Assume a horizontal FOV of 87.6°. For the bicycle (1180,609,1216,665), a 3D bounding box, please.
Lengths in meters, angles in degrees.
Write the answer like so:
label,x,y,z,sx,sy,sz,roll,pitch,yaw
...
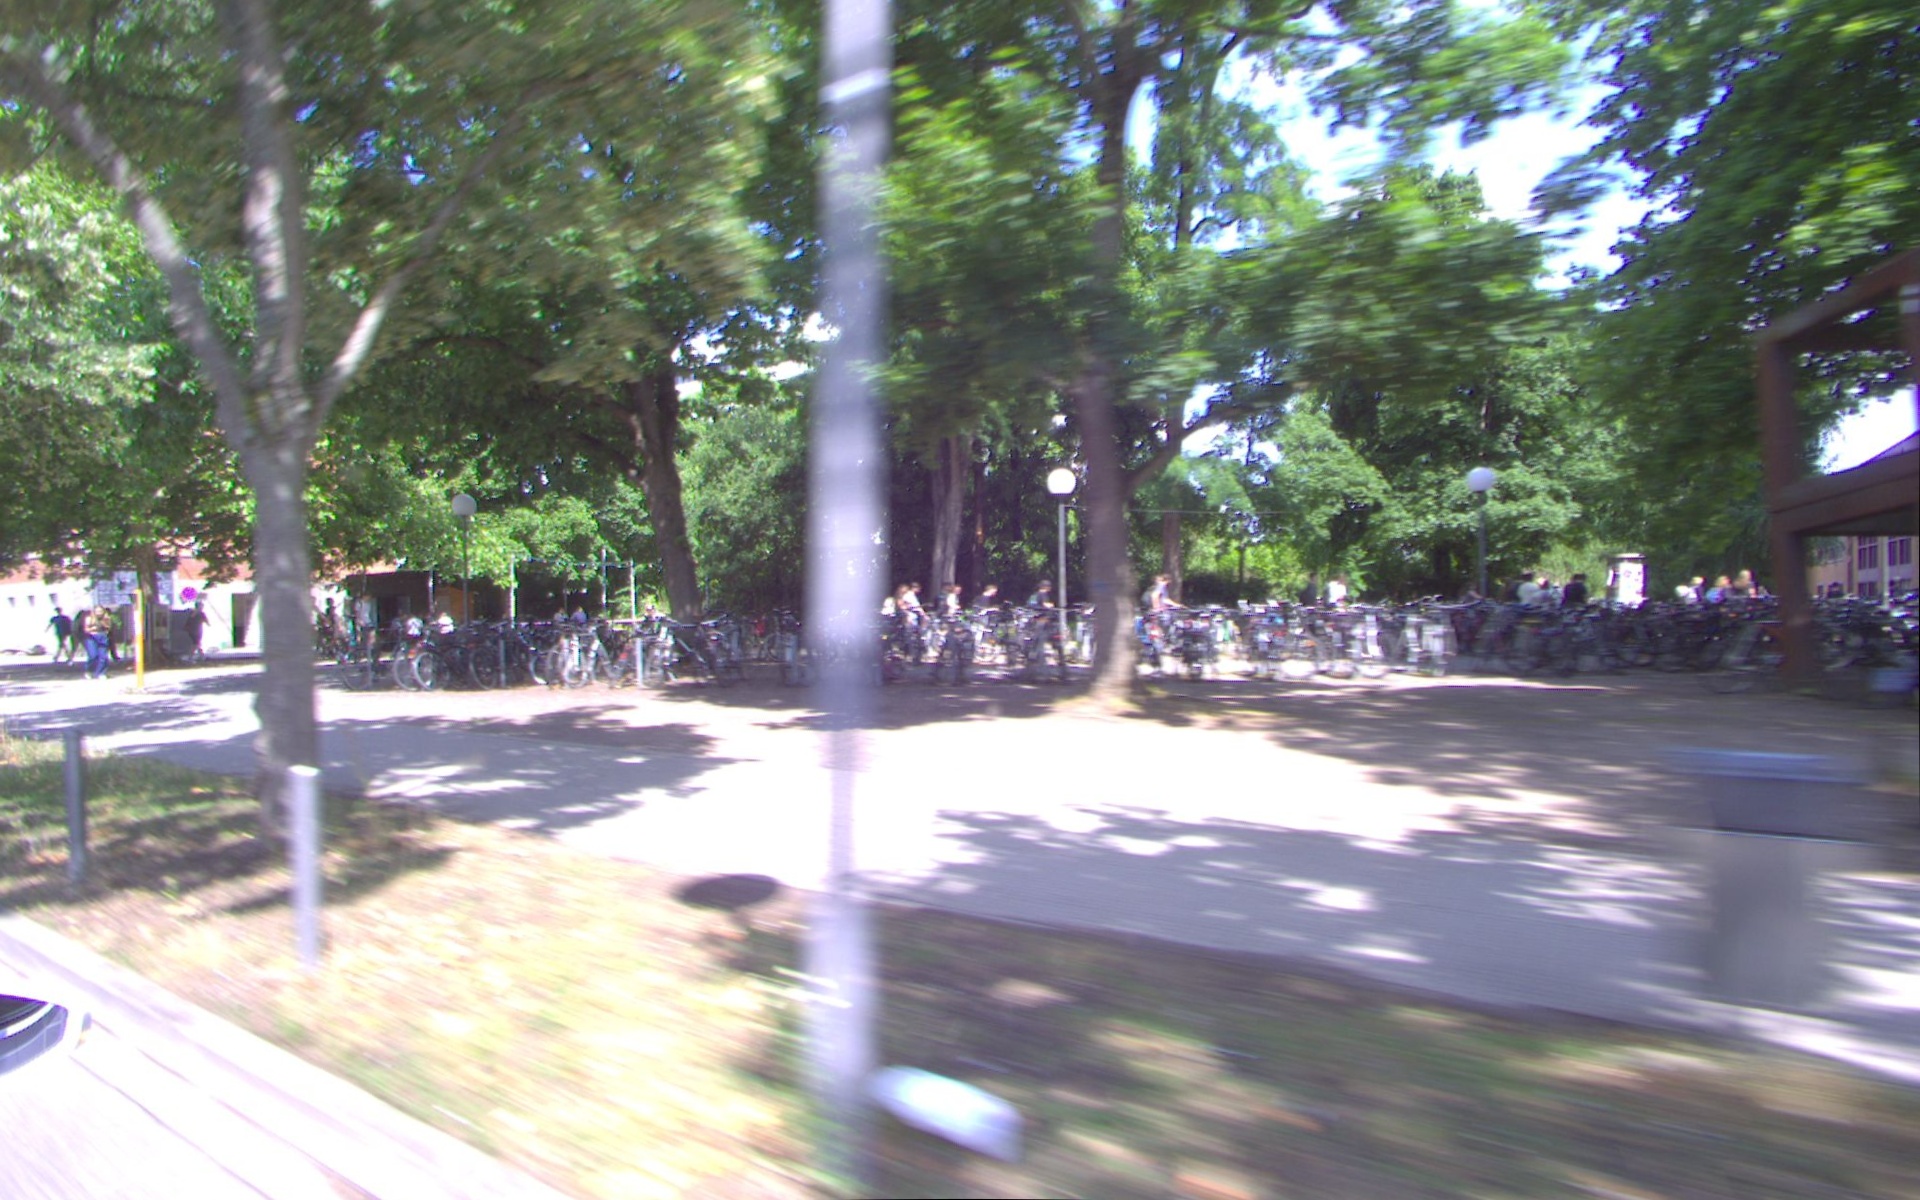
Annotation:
label,x,y,z,sx,sy,sz,roll,pitch,yaw
bicycle,4.707,0.705,19.853,0.371,0.992,1.903,-1,1,4

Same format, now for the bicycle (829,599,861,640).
label,x,y,z,sx,sy,sz,roll,pitch,yaw
bicycle,-3.304,0.554,28.907,0.469,1.108,1.752,-1,1,8

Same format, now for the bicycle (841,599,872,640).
label,x,y,z,sx,sy,sz,roll,pitch,yaw
bicycle,-2.965,0.545,28.863,0.469,1.108,1.752,-1,1,8

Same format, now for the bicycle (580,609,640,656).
label,x,y,z,sx,sy,sz,roll,pitch,yaw
bicycle,-8.230,0.749,23.616,0.469,0.992,1.902,-1,1,9

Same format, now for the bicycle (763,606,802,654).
label,x,y,z,sx,sy,sz,roll,pitch,yaw
bicycle,-4.082,0.670,23.108,0.526,0.992,1.903,-2,1,0

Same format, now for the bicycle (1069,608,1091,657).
label,x,y,z,sx,sy,sz,roll,pitch,yaw
bicycle,2.677,0.705,22.348,0.371,0.992,1.903,-1,1,4

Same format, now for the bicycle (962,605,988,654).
label,x,y,z,sx,sy,sz,roll,pitch,yaw
bicycle,0.324,0.637,22.244,0.371,0.992,1.903,-2,1,-5

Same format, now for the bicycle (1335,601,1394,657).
label,x,y,z,sx,sy,sz,roll,pitch,yaw
bicycle,8.102,0.561,20.114,0.287,1.036,1.742,-2,1,-7

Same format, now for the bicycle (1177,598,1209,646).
label,x,y,z,sx,sy,sz,roll,pitch,yaw
bicycle,5.122,0.465,22.059,0.371,0.992,1.903,-1,1,4

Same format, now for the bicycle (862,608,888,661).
label,x,y,z,sx,sy,sz,roll,pitch,yaw
bicycle,-1.757,0.684,20.549,0.469,0.992,1.902,-2,1,-6

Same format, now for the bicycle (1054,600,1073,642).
label,x,y,z,sx,sy,sz,roll,pitch,yaw
bicycle,2.903,0.583,28.196,0.469,1.108,1.610,-1,1,5

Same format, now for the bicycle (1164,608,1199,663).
label,x,y,z,sx,sy,sz,roll,pitch,yaw
bicycle,4.380,0.682,19.882,0.371,0.992,1.903,-1,1,4

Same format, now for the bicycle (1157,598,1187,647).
label,x,y,z,sx,sy,sz,roll,pitch,yaw
bicycle,4.679,0.480,22.132,0.371,0.992,1.903,-1,1,4

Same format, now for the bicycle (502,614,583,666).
label,x,y,z,sx,sy,sz,roll,pitch,yaw
bicycle,-8.977,0.841,21.622,0.601,0.992,1.901,-1,1,12

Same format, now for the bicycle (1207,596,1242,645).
label,x,y,z,sx,sy,sz,roll,pitch,yaw
bicycle,5.845,0.433,22.193,0.371,0.992,1.903,-1,1,4

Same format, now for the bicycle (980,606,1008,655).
label,x,y,z,sx,sy,sz,roll,pitch,yaw
bicycle,0.734,0.656,22.212,0.371,0.992,1.903,-2,1,-5

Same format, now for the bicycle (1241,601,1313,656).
label,x,y,z,sx,sy,sz,roll,pitch,yaw
bicycle,6.210,0.534,19.710,0.372,0.992,1.900,-2,1,-16

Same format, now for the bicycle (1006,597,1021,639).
label,x,y,z,sx,sy,sz,roll,pitch,yaw
bicycle,1.517,0.498,28.147,0.341,1.108,1.610,-1,1,5

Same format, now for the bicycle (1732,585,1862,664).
label,x,y,z,sx,sy,sz,roll,pitch,yaw
bicycle,13.390,0.363,16.090,0.406,1.186,1.844,-1,1,-5

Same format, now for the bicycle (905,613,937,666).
label,x,y,z,sx,sy,sz,roll,pitch,yaw
bicycle,-0.811,0.785,20.551,0.469,0.992,1.902,-2,1,-7

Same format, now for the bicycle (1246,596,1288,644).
label,x,y,z,sx,sy,sz,roll,pitch,yaw
bicycle,6.793,0.420,22.218,0.469,0.992,1.903,-1,1,4

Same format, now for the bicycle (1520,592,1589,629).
label,x,y,z,sx,sy,sz,roll,pitch,yaw
bicycle,17.033,0.289,28.691,1.719,0.944,0.585,-2,3,-9

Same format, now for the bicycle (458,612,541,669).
label,x,y,z,sx,sy,sz,roll,pitch,yaw
bicycle,-10.040,0.864,21.914,0.601,1.133,1.901,-1,1,12

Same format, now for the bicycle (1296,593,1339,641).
label,x,y,z,sx,sy,sz,roll,pitch,yaw
bicycle,7.951,0.355,22.320,0.371,0.992,1.903,-1,1,4

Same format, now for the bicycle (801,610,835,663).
label,x,y,z,sx,sy,sz,roll,pitch,yaw
bicycle,-2.901,0.717,20.354,0.470,0.992,1.901,-2,1,-14

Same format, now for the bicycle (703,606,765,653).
label,x,y,z,sx,sy,sz,roll,pitch,yaw
bicycle,-5.163,0.656,22.984,0.601,0.992,1.901,-1,1,12

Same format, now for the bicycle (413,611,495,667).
label,x,y,z,sx,sy,sz,roll,pitch,yaw
bicycle,-11.205,0.848,22.247,0.601,1.133,1.807,-1,1,12

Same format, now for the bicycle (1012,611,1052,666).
label,x,y,z,sx,sy,sz,roll,pitch,yaw
bicycle,1.424,0.749,20.000,0.469,0.992,1.903,-2,1,-5

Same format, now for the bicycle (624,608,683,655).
label,x,y,z,sx,sy,sz,roll,pitch,yaw
bicycle,-7.125,0.711,23.367,0.413,0.992,1.901,-1,1,12

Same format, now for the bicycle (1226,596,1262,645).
label,x,y,z,sx,sy,sz,roll,pitch,yaw
bicycle,6.237,0.430,22.049,0.371,0.992,1.903,-1,1,4

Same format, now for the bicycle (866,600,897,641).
label,x,y,z,sx,sy,sz,roll,pitch,yaw
bicycle,-2.270,0.575,29.044,0.342,1.108,1.609,-1,1,15

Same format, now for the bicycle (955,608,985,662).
label,x,y,z,sx,sy,sz,roll,pitch,yaw
bicycle,0.209,0.680,20.124,0.469,0.992,1.903,-1,1,4

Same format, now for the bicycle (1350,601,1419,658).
label,x,y,z,sx,sy,sz,roll,pitch,yaw
bicycle,8.417,0.560,19.921,0.469,1.036,1.742,-2,1,-7

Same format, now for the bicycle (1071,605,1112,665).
label,x,y,z,sx,sy,sz,roll,pitch,yaw
bicycle,2.616,0.666,20.047,0.469,1.097,1.903,-2,1,-2

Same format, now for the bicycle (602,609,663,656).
label,x,y,z,sx,sy,sz,roll,pitch,yaw
bicycle,-7.602,0.745,23.300,0.413,0.992,1.901,-1,1,12

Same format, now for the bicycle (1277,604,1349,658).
label,x,y,z,sx,sy,sz,roll,pitch,yaw
bicycle,7.000,0.595,19.953,0.372,0.992,1.901,-2,1,-14

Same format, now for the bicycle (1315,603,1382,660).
label,x,y,z,sx,sy,sz,roll,pitch,yaw
bicycle,7.745,0.606,20.031,0.469,1.036,1.742,-2,1,-7

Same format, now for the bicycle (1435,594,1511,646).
label,x,y,z,sx,sy,sz,roll,pitch,yaw
bicycle,10.461,0.390,20.489,0.469,0.992,1.903,-2,1,-4

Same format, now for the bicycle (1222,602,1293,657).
label,x,y,z,sx,sy,sz,roll,pitch,yaw
bicycle,5.786,0.554,19.583,0.372,0.992,1.900,-2,1,-16

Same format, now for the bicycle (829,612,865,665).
label,x,y,z,sx,sy,sz,roll,pitch,yaw
bicycle,-2.331,0.763,20.497,0.470,0.992,1.901,-2,1,-14

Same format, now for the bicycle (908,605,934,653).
label,x,y,z,sx,sy,sz,roll,pitch,yaw
bicycle,-0.891,0.641,22.575,0.469,0.992,1.903,-2,1,-5

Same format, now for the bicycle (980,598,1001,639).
label,x,y,z,sx,sy,sz,roll,pitch,yaw
bicycle,0.878,0.502,28.495,0.469,1.108,1.610,-1,1,5

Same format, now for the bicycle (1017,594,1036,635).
label,x,y,z,sx,sy,sz,roll,pitch,yaw
bicycle,1.886,0.388,28.367,0.469,1.108,1.610,-1,1,5

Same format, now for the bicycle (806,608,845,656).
label,x,y,z,sx,sy,sz,roll,pitch,yaw
bicycle,-2.984,0.693,22.410,0.469,0.992,1.903,-1,1,4

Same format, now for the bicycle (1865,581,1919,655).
label,x,y,z,sx,sy,sz,roll,pitch,yaw
bicycle,15.670,0.283,16.122,0.406,1.186,1.844,-1,1,-5

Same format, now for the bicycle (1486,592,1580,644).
label,x,y,z,sx,sy,sz,roll,pitch,yaw
bicycle,11.663,0.340,20.455,0.470,0.992,1.900,-2,1,-15

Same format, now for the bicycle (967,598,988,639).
label,x,y,z,sx,sy,sz,roll,pitch,yaw
bicycle,0.504,0.514,28.472,0.469,1.108,1.610,-1,1,5

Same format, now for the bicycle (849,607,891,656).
label,x,y,z,sx,sy,sz,roll,pitch,yaw
bicycle,-2.012,0.690,22.645,0.434,0.992,1.902,-1,1,10

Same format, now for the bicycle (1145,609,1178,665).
label,x,y,z,sx,sy,sz,roll,pitch,yaw
bicycle,3.963,0.699,19.762,0.371,0.992,1.903,-1,1,4

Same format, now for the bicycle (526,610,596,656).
label,x,y,z,sx,sy,sz,roll,pitch,yaw
bicycle,-9.487,0.776,23.878,0.470,0.992,1.901,-1,1,15

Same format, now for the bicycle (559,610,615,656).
label,x,y,z,sx,sy,sz,roll,pitch,yaw
bicycle,-8.845,0.759,23.811,0.413,0.992,1.903,-1,1,6

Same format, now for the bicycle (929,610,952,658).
label,x,y,z,sx,sy,sz,roll,pitch,yaw
bicycle,-0.454,0.758,22.729,0.371,0.992,1.903,-2,1,-5

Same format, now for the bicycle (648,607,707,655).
label,x,y,z,sx,sy,sz,roll,pitch,yaw
bicycle,-6.497,0.694,23.104,0.469,0.992,1.902,-1,1,11

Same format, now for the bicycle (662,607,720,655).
label,x,y,z,sx,sy,sz,roll,pitch,yaw
bicycle,-6.144,0.684,22.989,0.469,0.992,1.902,-1,1,11

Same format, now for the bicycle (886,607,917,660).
label,x,y,z,sx,sy,sz,roll,pitch,yaw
bicycle,-1.206,0.653,20.498,0.469,0.992,1.902,-2,1,-7

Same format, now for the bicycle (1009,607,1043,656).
label,x,y,z,sx,sy,sz,roll,pitch,yaw
bicycle,1.455,0.681,22.443,0.469,0.992,1.903,-2,1,-5

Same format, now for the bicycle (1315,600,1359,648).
label,x,y,z,sx,sy,sz,roll,pitch,yaw
bicycle,8.370,0.517,22.294,0.371,0.992,1.903,-1,1,4
